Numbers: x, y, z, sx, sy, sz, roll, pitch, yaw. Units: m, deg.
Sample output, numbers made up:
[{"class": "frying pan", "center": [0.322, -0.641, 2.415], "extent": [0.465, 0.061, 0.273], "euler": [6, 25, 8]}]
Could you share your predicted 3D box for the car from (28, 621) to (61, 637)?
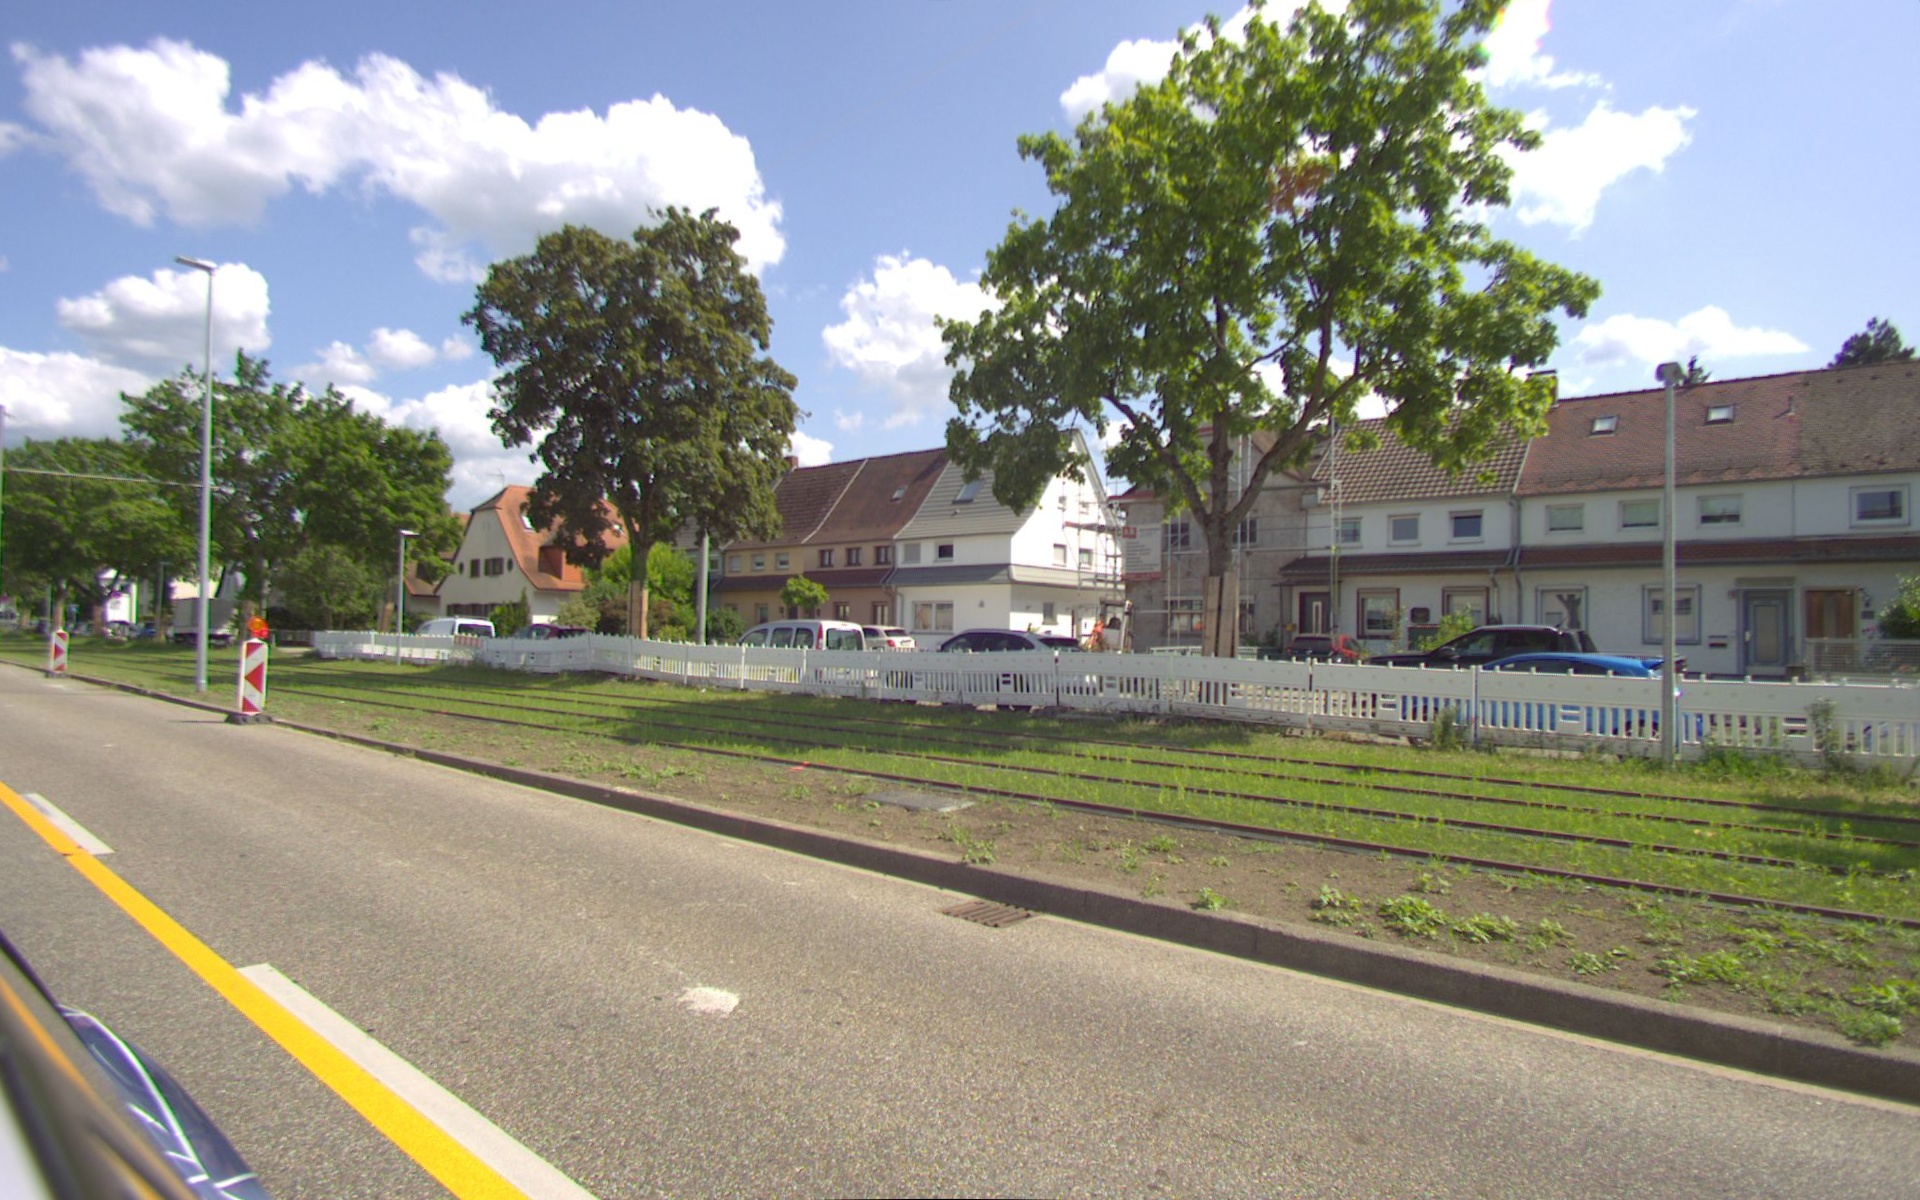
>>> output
[{"class": "car", "center": [-80.920, 2.522, 89.441], "extent": [3.997, 1.311, 1.616], "euler": [0, 0, 41]}]

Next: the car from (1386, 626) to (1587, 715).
[{"class": "car", "center": [9.687, 1.249, 18.717], "extent": [3.091, 1.506, 1.342], "euler": [-1, -3, 40]}]

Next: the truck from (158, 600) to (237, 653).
[{"class": "truck", "center": [-42.994, 1.437, 56.999], "extent": [5.947, 2.826, 2.341], "euler": [0, 0, 41]}]

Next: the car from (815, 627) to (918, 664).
[{"class": "car", "center": [-3.692, 1.763, 39.479], "extent": [4.117, 1.285, 1.518], "euler": [0, -3, 40]}]

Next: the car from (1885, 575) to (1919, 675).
[{"class": "car", "center": [21.203, 0.501, 20.153], "extent": [3.997, 2.029, 1.973], "euler": [0, 0, 40]}]

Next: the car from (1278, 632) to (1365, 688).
[{"class": "car", "center": [9.964, 1.607, 27.846], "extent": [1.285, 1.390, 2.776], "euler": [0, 0, 43]}]

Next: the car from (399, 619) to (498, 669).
[{"class": "car", "center": [-18.080, 1.540, 35.727], "extent": [3.998, 1.638, 1.636], "euler": [0, -3, 40]}]

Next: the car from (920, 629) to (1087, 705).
[{"class": "car", "center": [0.821, 1.283, 19.853], "extent": [3.112, 1.388, 1.336], "euler": [-2, -4, 40]}]

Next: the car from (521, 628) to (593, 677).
[{"class": "car", "center": [-12.162, 1.569, 30.468], "extent": [2.449, 1.358, 1.060], "euler": [0, -3, 44]}]

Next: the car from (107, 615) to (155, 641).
[{"class": "car", "center": [-51.562, 1.739, 62.911], "extent": [3.928, 1.524, 1.651], "euler": [0, 0, 40]}]

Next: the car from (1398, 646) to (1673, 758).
[{"class": "car", "center": [7.926, 1.329, 14.059], "extent": [3.166, 1.335, 1.327], "euler": [-1, -3, 38]}]

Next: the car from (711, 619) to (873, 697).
[{"class": "car", "center": [-4.036, 1.340, 23.984], "extent": [3.896, 1.664, 1.606], "euler": [0, -3, 40]}]
